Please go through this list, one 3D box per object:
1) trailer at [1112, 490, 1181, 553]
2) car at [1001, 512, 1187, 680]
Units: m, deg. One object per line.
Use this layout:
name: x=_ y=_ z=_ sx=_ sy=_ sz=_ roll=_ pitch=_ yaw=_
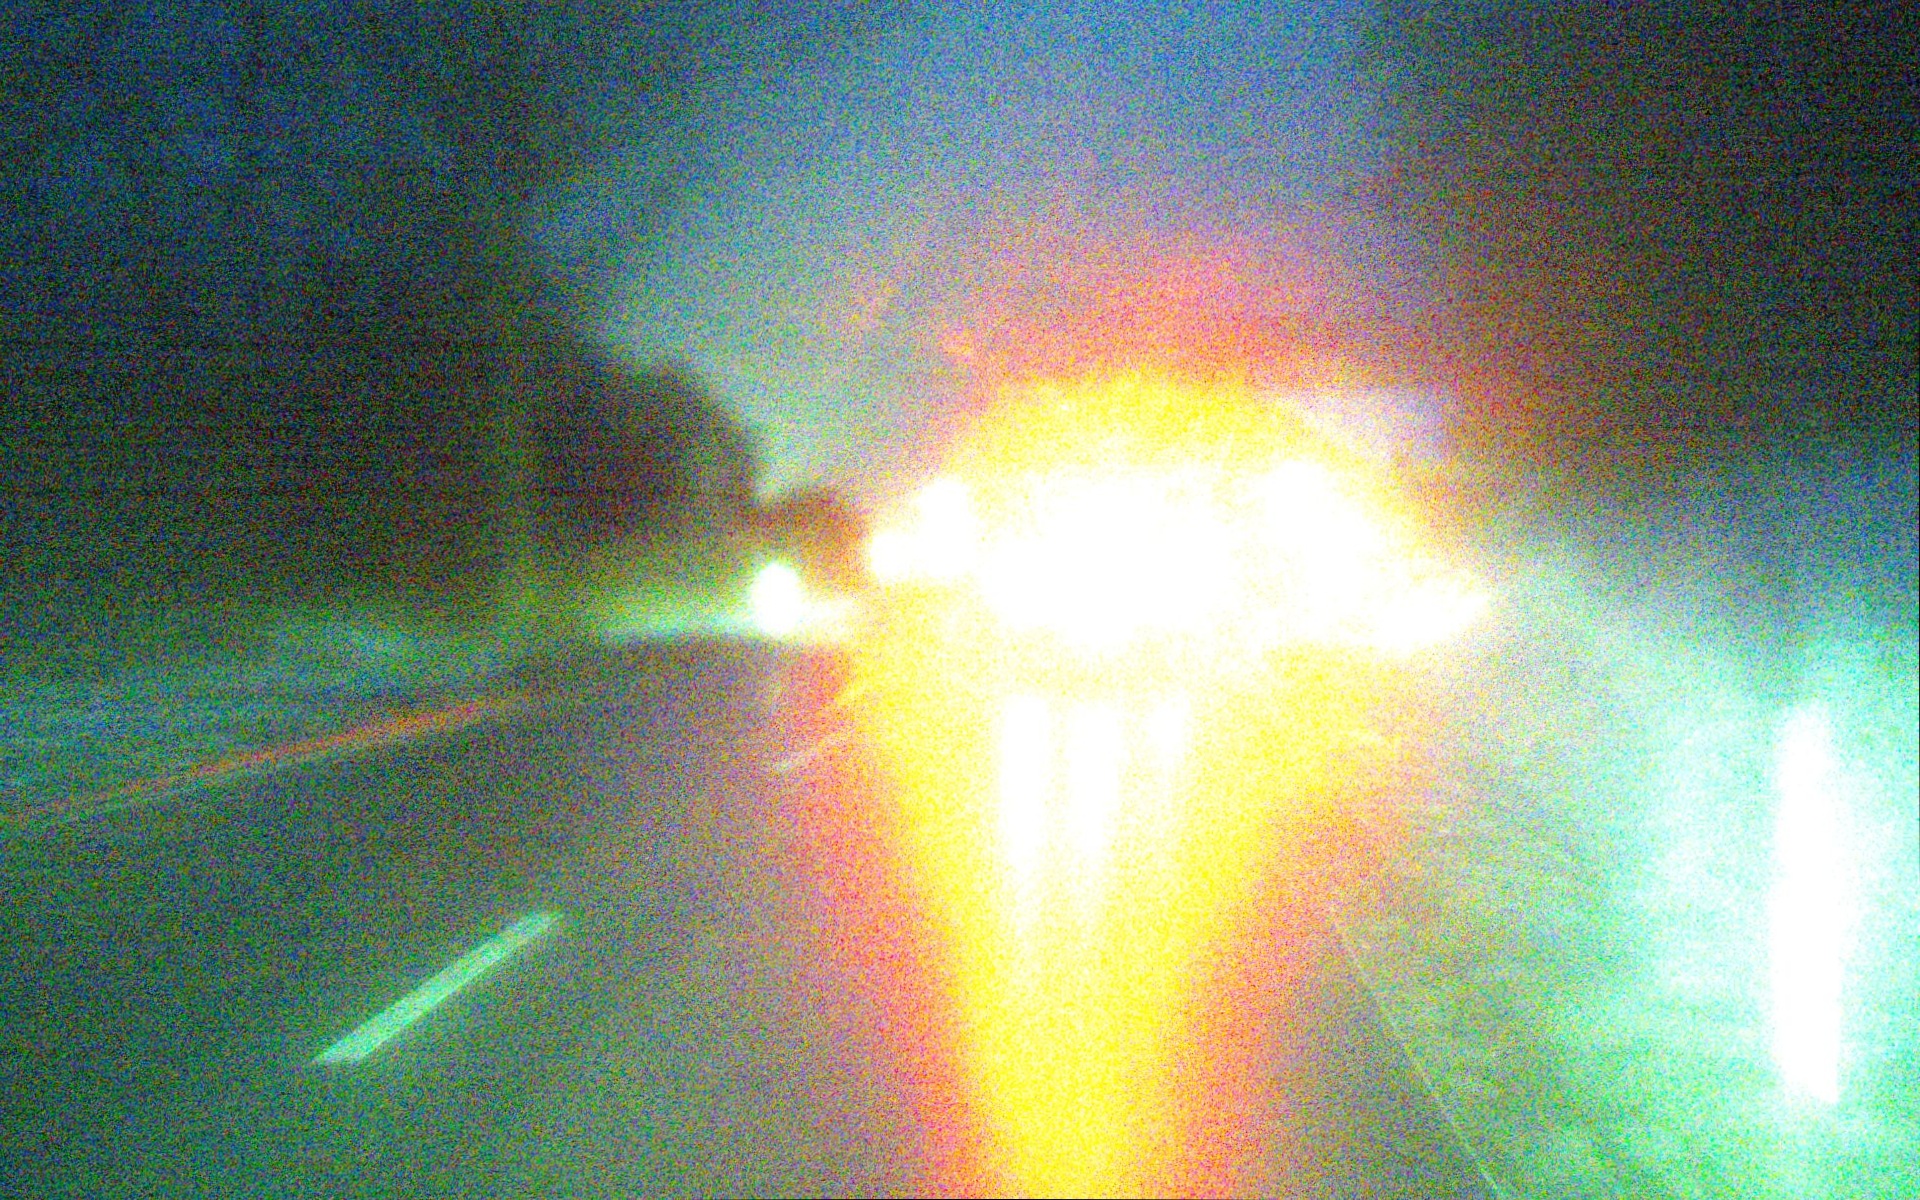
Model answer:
trailer: x=7.130 y=-2.983 z=131.739 sx=1.605 sy=2.344 sz=4.432 roll=1 pitch=1 yaw=-11
car: x=1.403 y=-0.076 z=35.399 sx=1.801 sy=1.623 sz=3.615 roll=-1 pitch=1 yaw=3
